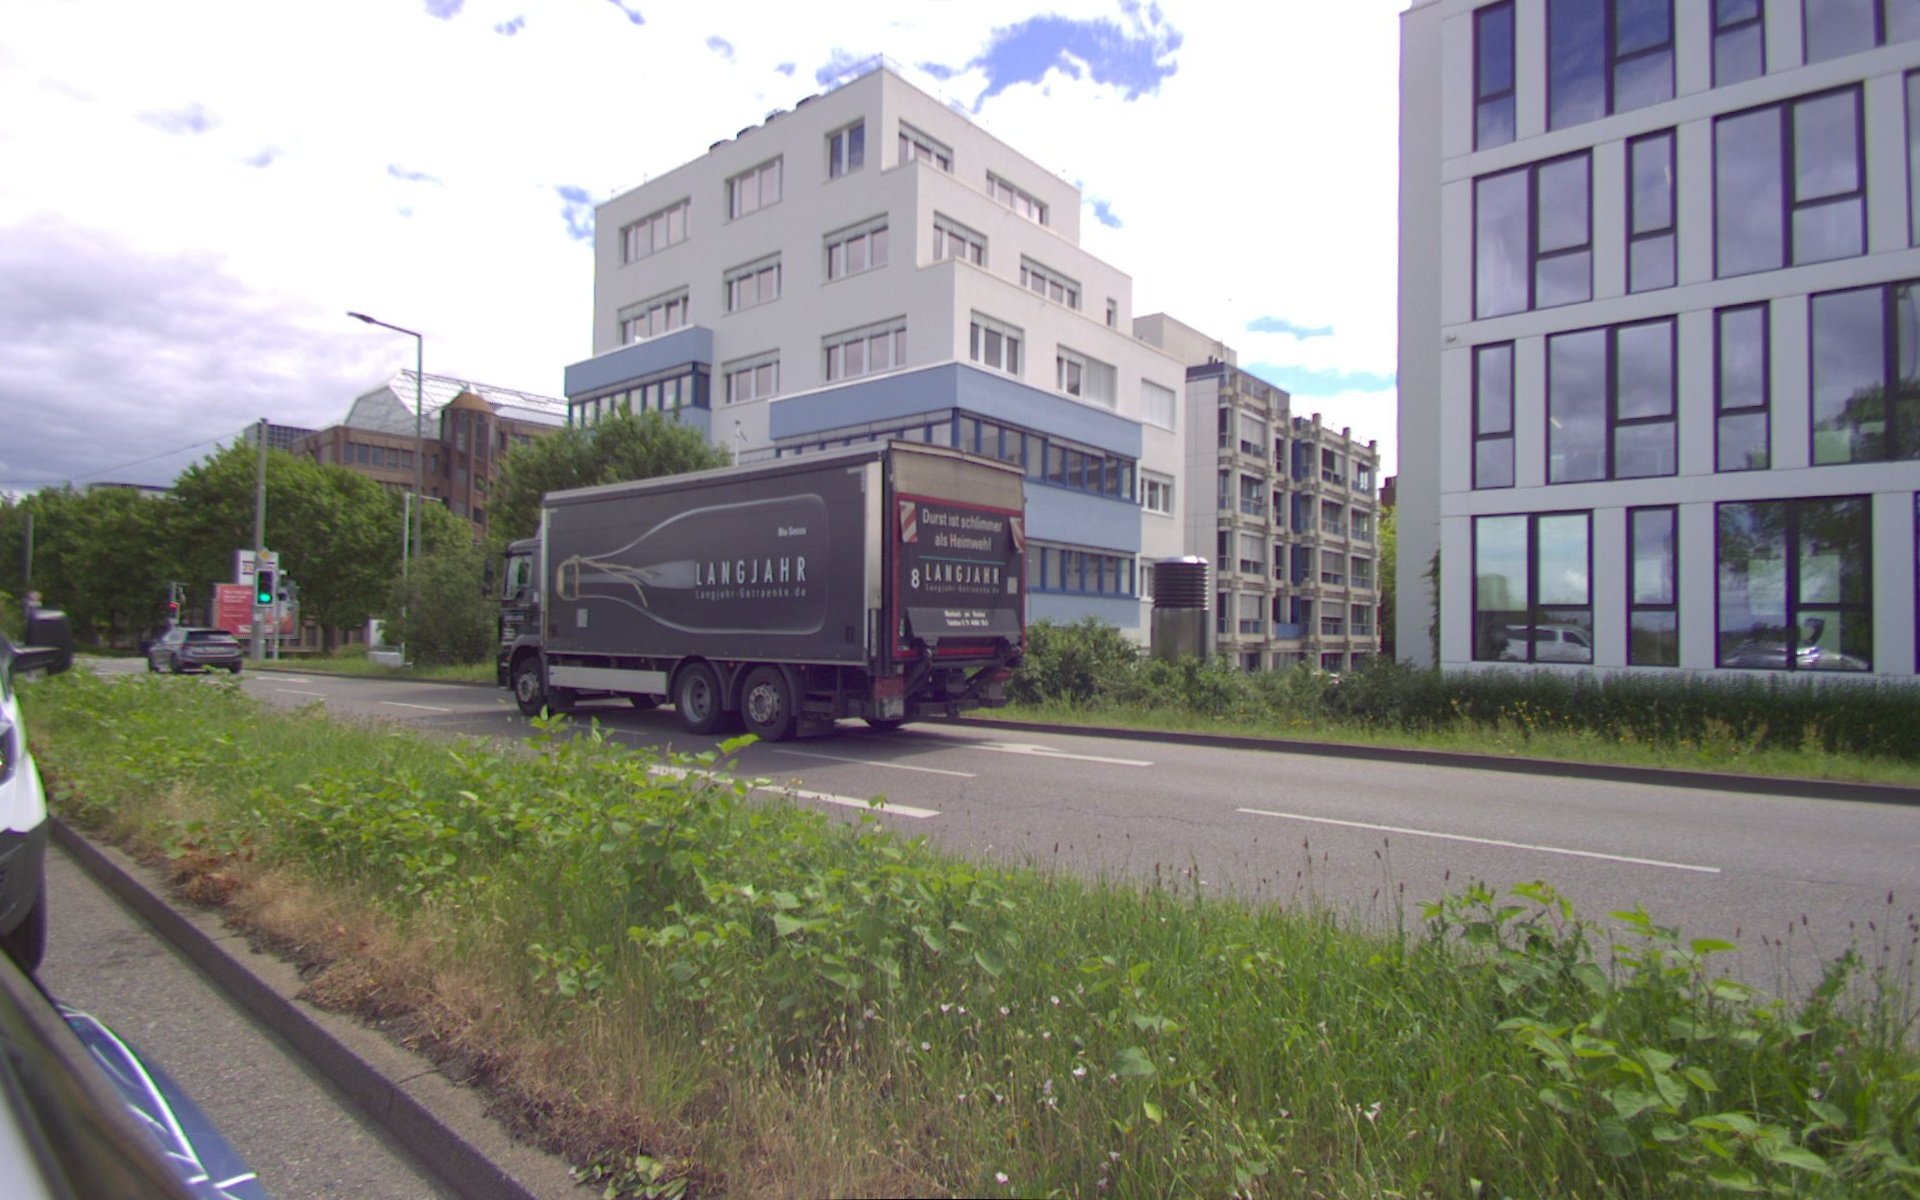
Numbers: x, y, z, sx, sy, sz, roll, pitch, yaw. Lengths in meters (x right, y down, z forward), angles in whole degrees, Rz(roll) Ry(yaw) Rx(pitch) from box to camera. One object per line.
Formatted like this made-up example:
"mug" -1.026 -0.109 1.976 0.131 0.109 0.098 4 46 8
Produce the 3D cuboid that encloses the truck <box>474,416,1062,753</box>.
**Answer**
"truck" -3.352 -0.085 14.894 9.516 3.544 3.136 -1 -1 39

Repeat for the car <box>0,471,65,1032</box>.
"car" -5.780 0.575 4.606 5.052 1.965 1.942 -2 -1 41

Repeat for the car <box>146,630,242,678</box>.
"car" -23.993 1.655 31.681 3.775 1.393 1.538 -2 -2 39
